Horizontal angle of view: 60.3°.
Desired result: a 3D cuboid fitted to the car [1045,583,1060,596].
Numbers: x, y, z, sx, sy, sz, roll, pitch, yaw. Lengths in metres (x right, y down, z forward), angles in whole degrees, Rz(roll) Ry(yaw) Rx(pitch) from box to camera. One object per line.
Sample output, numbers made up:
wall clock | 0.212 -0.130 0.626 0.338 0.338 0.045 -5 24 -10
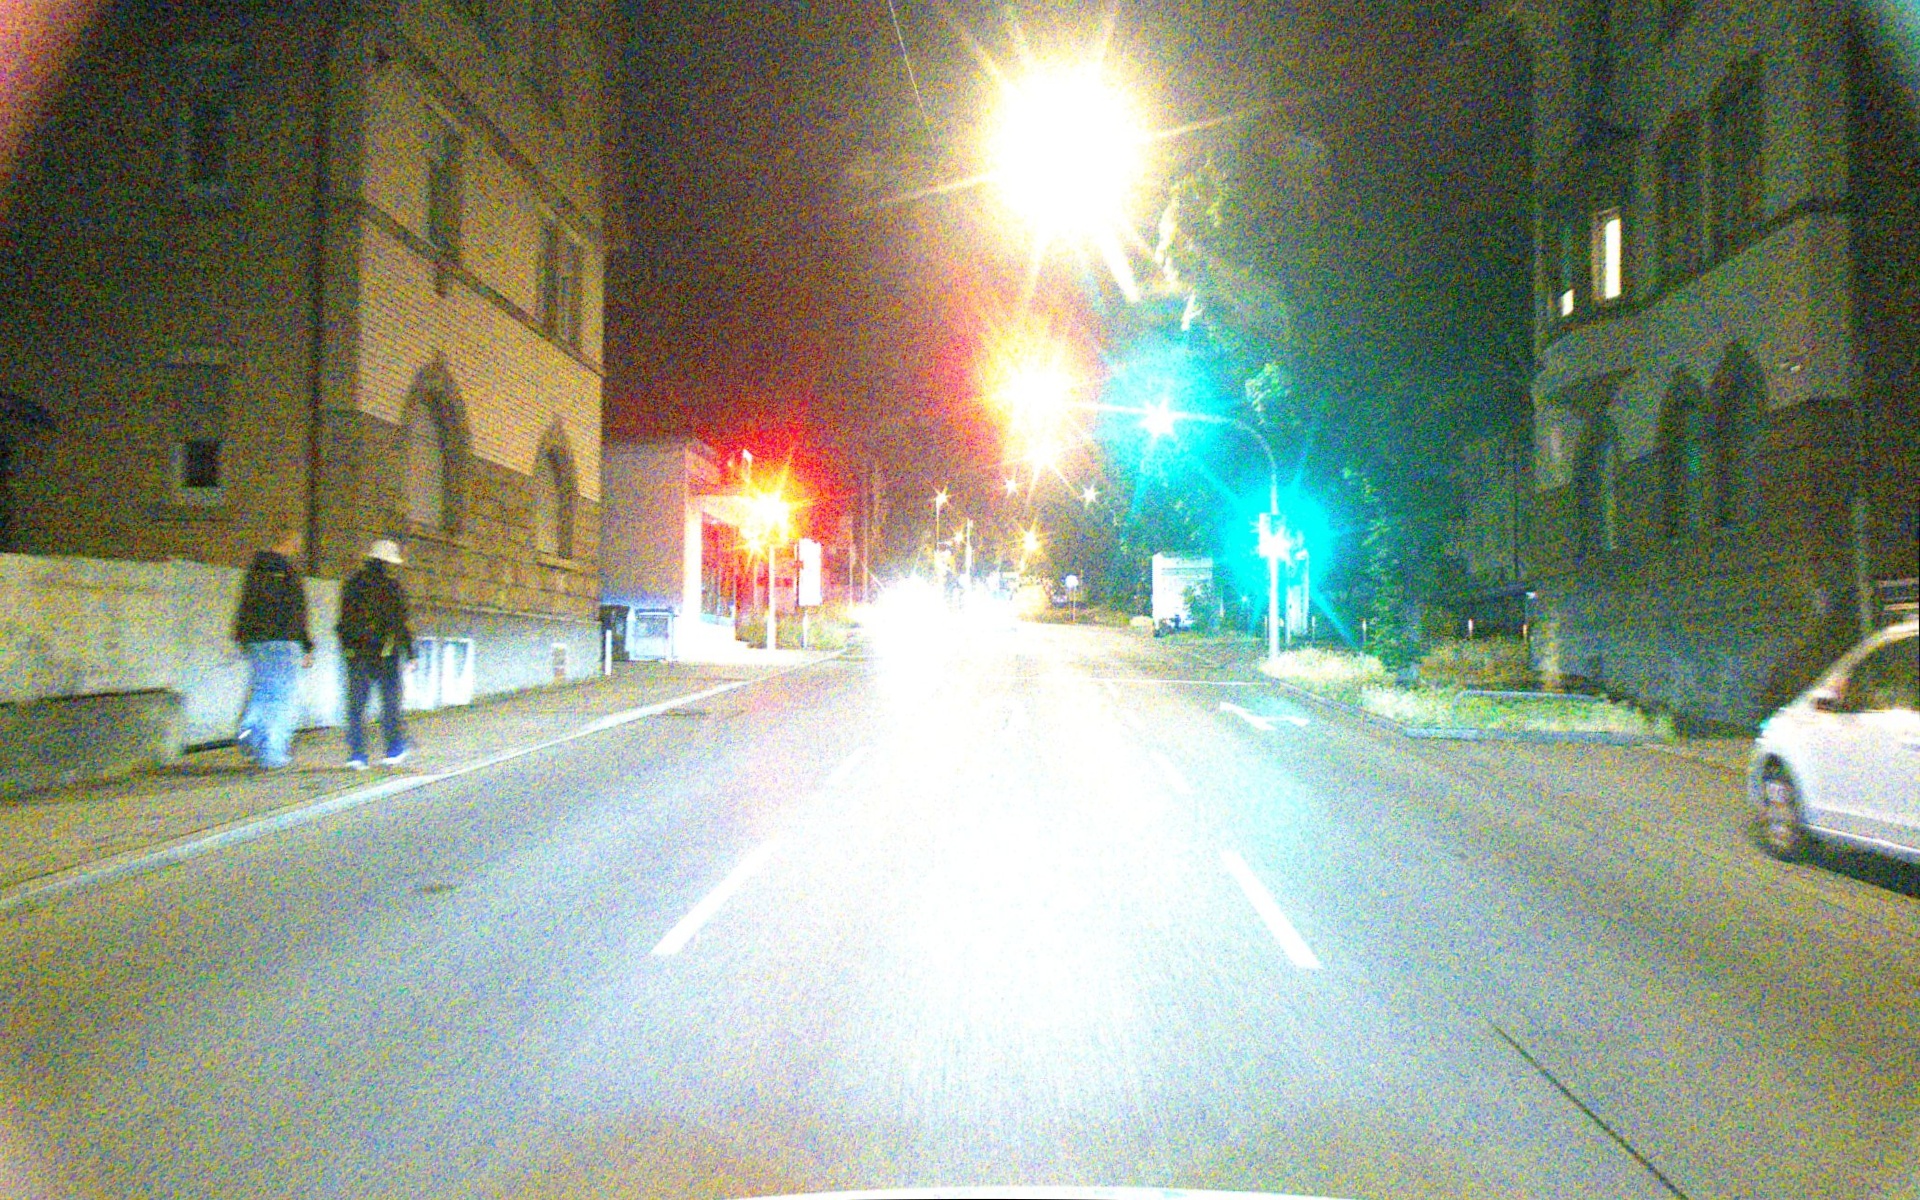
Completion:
car | 10.350 -1.189 185.227 1.600 1.477 3.486 1 0 3

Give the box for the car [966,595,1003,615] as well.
car | 1.763 0.368 121.243 1.882 1.413 4.571 1 0 -10

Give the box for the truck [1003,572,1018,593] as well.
truck | 7.187 -2.506 235.798 2.043 2.897 5.832 1 0 1

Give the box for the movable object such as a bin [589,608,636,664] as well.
movable object such as a bin | -6.688 0.684 31.852 0.625 1.067 0.654 0 0 20

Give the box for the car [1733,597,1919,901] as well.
car | 5.710 0.757 8.728 1.633 1.510 3.604 -1 0 2

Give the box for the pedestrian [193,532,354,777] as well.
pedestrian | -5.221 0.399 12.638 0.727 1.776 1.103 1 0 1

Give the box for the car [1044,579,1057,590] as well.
car | 11.877 -2.052 217.432 1.600 1.477 3.486 1 0 3

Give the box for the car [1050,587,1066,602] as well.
car | 10.007 -0.596 169.137 1.600 1.477 3.486 1 0 3

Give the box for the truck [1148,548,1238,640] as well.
truck | 8.415 -0.226 60.337 2.692 3.165 6.261 1 0 3

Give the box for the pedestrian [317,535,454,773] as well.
pedestrian | -4.465 0.407 12.913 0.661 1.776 1.029 1 0 1

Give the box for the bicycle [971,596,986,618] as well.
bicycle | 0.979 0.370 86.959 0.681 1.169 1.951 1 0 3

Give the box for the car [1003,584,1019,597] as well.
car | 5.778 -1.072 186.760 1.778 1.517 4.001 1 0 1

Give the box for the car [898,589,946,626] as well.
car | -1.646 0.322 72.876 1.818 1.561 4.029 1 0 2

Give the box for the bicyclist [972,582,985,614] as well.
bicyclist | 0.976 -0.113 86.951 0.676 1.666 0.896 1 0 2
